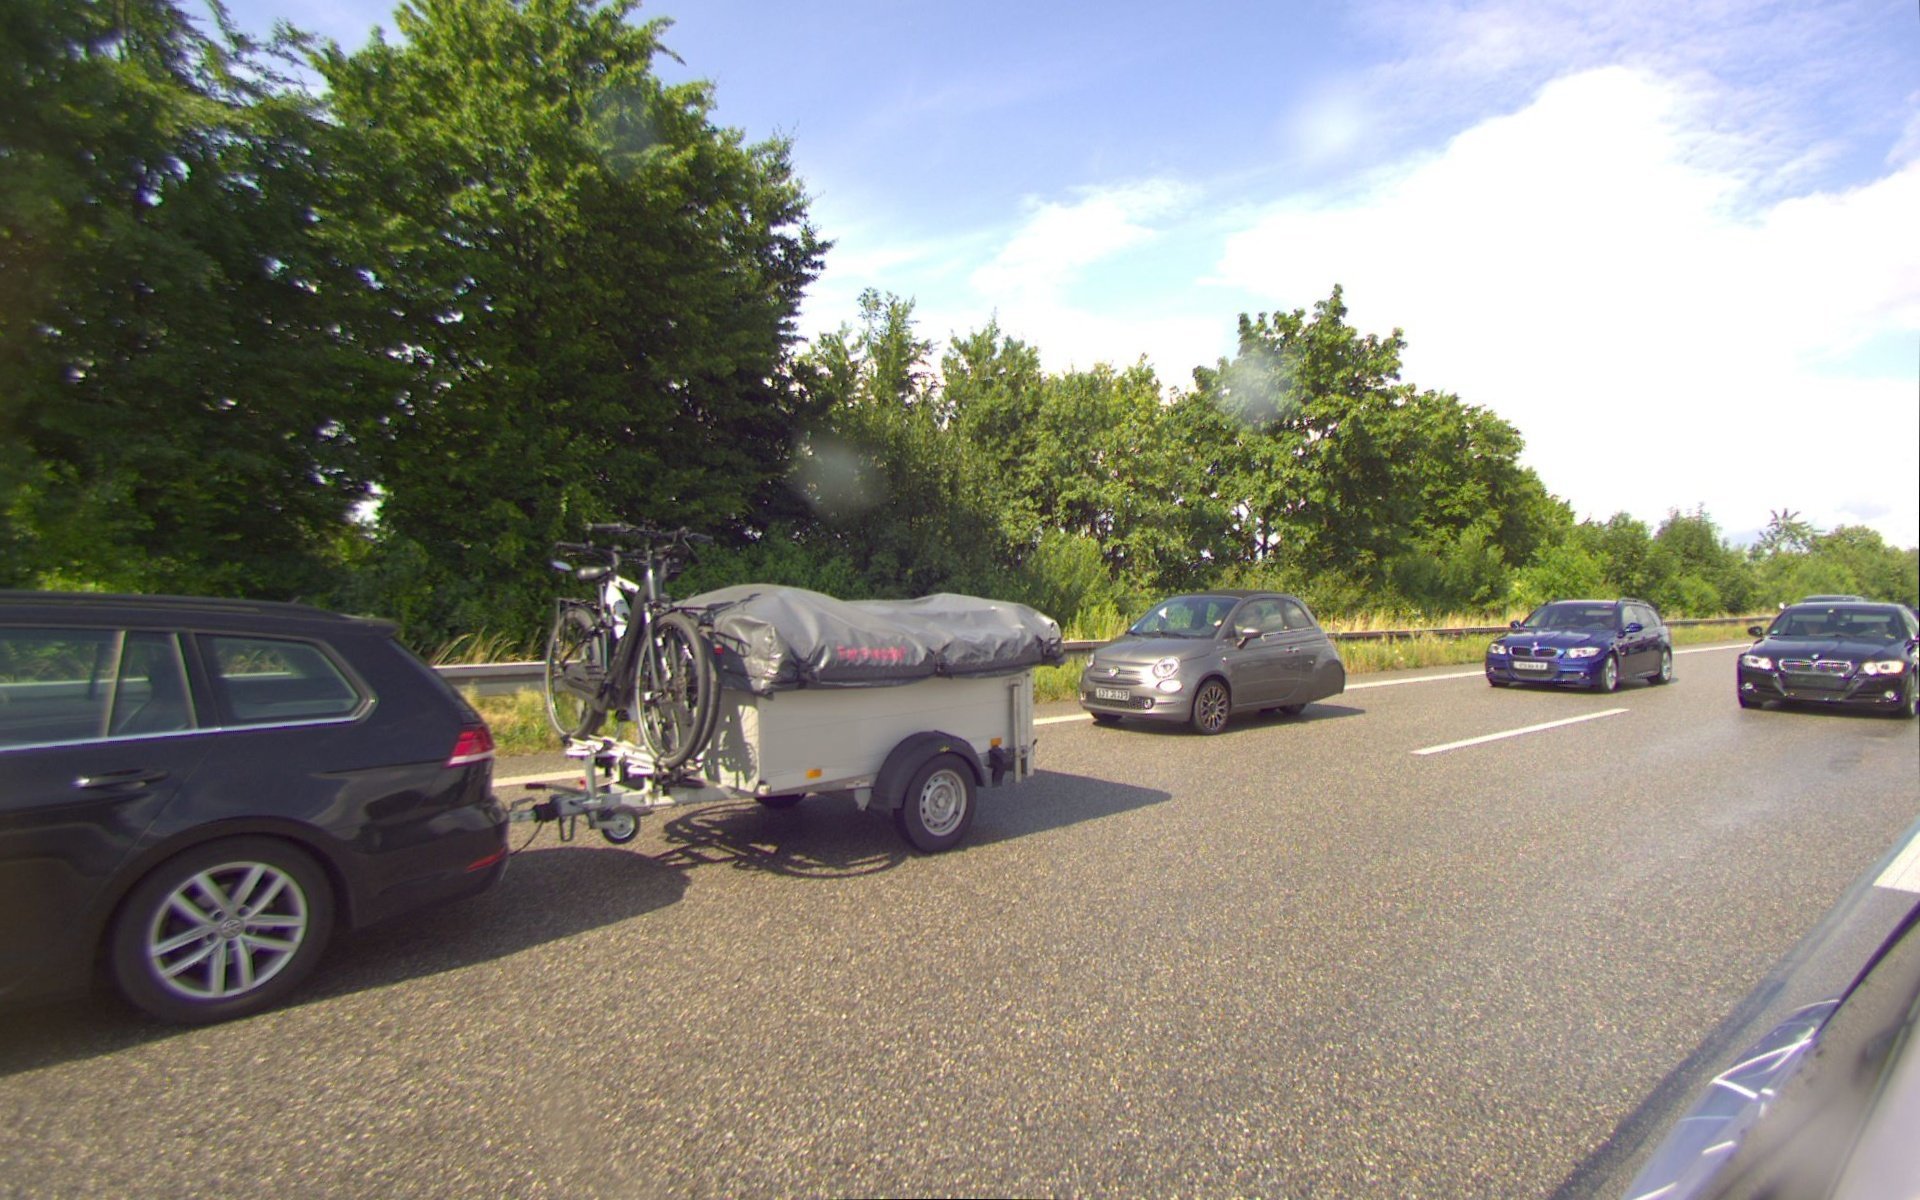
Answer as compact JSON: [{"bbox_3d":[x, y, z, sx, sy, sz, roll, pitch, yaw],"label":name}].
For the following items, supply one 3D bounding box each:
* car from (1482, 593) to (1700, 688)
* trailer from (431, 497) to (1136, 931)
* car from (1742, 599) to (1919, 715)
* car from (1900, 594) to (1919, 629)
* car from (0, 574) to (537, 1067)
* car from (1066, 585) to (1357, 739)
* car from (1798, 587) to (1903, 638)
[{"bbox_3d":[10.598,0.577,16.870,4.498,1.368,1.770,0,1,-40],"label":"car"},{"bbox_3d":[-0.830,0.457,6.149,3.902,1.768,1.807,0,0,-44],"label":"trailer"},{"bbox_3d":[12.408,0.683,14.013,3.815,1.371,1.721,0,0,-40],"label":"car"},{"bbox_3d":[45.457,0.518,47.295,3.931,1.594,1.866,0,1,-41],"label":"car"},{"bbox_3d":[-3.847,0.639,3.179,4.333,1.449,1.744,0,1,-45],"label":"car"},{"bbox_3d":[2.976,0.589,11.670,3.421,1.507,1.614,0,1,-41],"label":"car"},{"bbox_3d":[28.238,0.341,32.051,4.176,1.509,1.997,0,1,-41],"label":"car"}]
